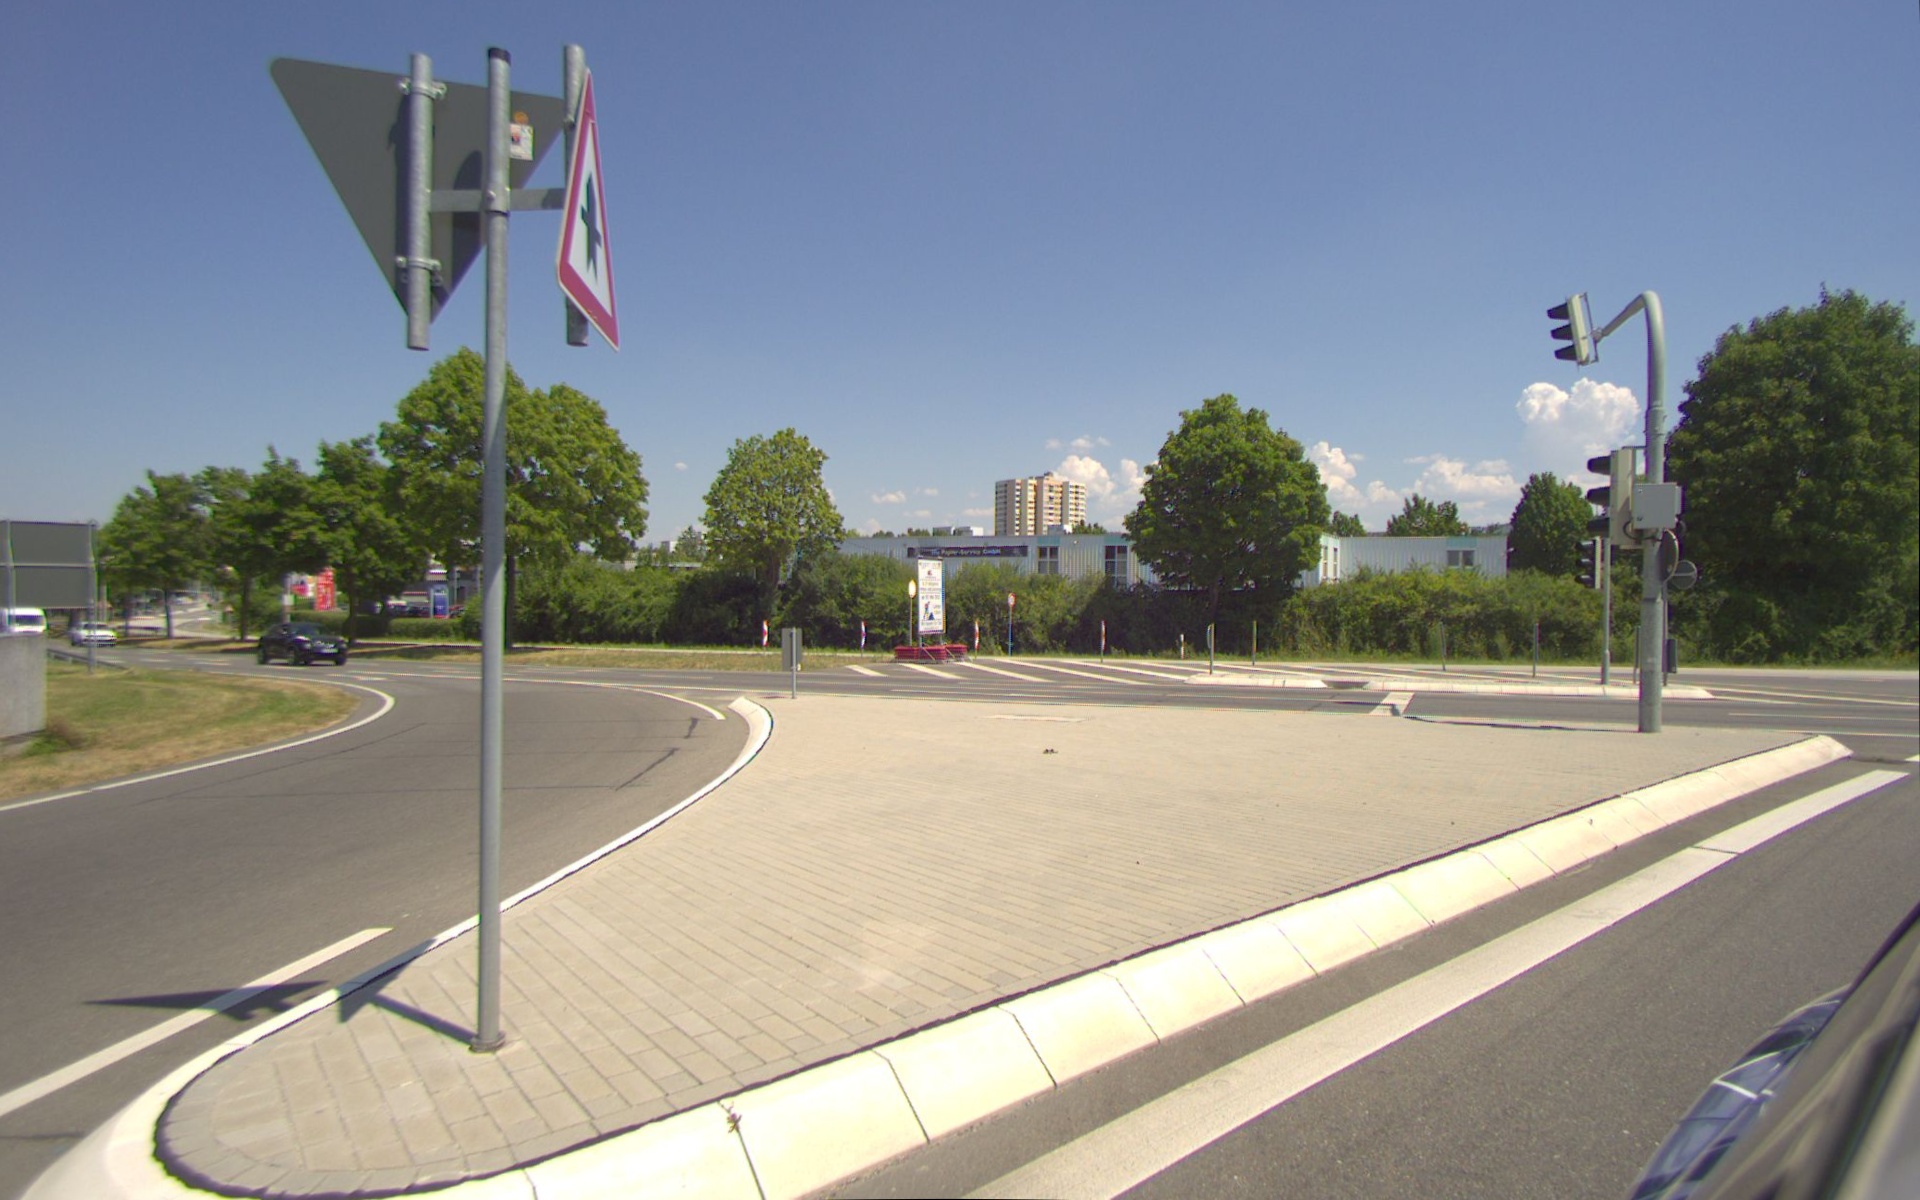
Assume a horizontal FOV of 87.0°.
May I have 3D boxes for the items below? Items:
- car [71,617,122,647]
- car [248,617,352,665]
[{"bbox_3d":[-57.274,2.111,67.100,4.225,1.833,1.843,0,0,40],"label":"car"},{"bbox_3d":[-24.274,1.443,37.156,4.329,1.620,1.912,-1,0,38],"label":"car"}]
